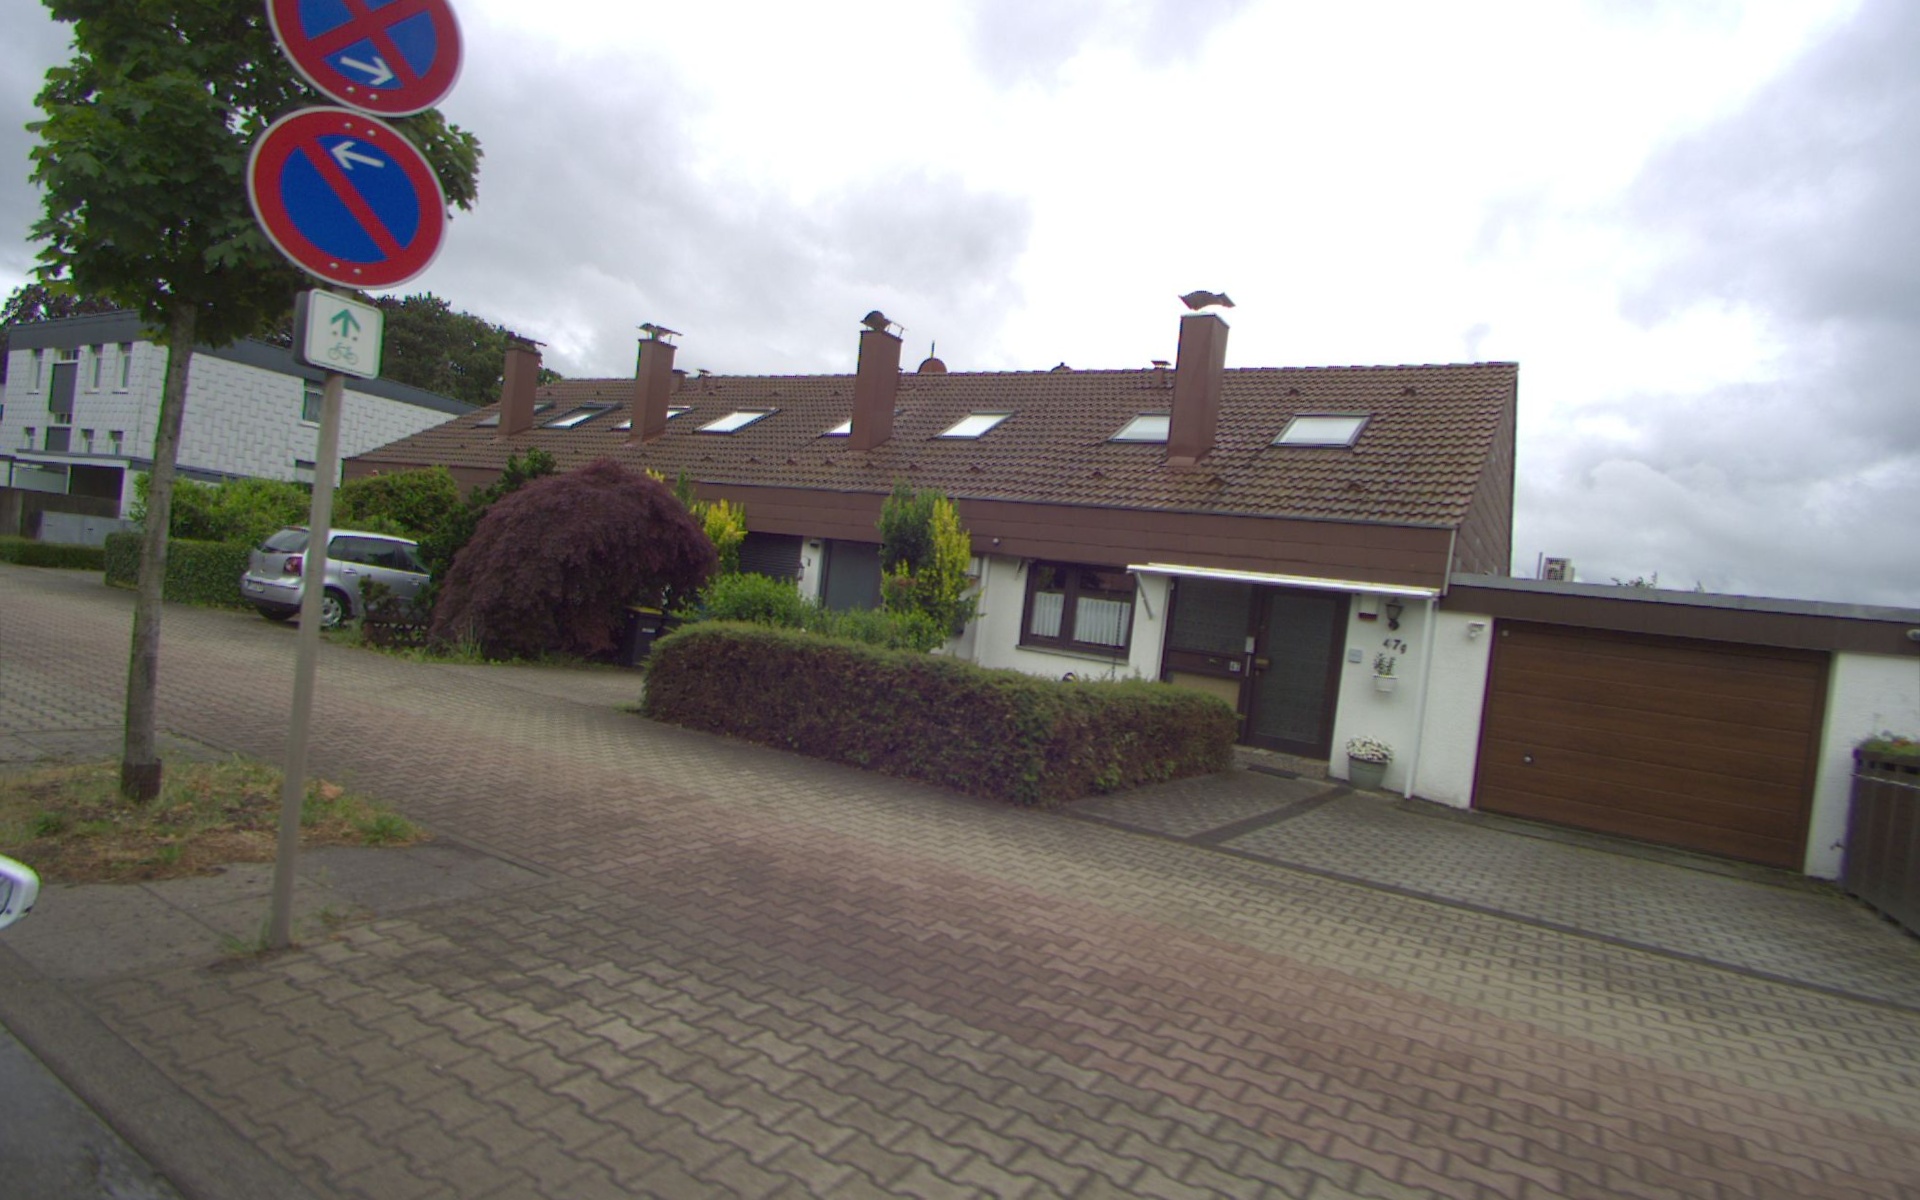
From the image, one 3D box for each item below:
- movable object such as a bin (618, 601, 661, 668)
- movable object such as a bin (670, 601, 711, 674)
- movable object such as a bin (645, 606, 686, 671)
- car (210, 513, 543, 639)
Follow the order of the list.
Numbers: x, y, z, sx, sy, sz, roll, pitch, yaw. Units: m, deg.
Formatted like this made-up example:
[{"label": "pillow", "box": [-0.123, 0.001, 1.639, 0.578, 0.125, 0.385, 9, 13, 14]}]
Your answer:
[{"label": "movable object such as a bin", "box": [-4.773, 0.521, 14.984, 0.352, 0.945, 0.377, 7, 1, 37]}, {"label": "movable object such as a bin", "box": [-4.244, 0.587, 15.866, 0.352, 1.102, 0.377, 7, 1, 37]}, {"label": "movable object such as a bin", "box": [-4.492, 0.589, 15.355, 0.352, 0.945, 0.377, 7, 1, 37]}, {"label": "car", "box": [-8.846, -0.294, 15.593, 1.817, 1.459, 3.992, 6, -1, 32]}]
